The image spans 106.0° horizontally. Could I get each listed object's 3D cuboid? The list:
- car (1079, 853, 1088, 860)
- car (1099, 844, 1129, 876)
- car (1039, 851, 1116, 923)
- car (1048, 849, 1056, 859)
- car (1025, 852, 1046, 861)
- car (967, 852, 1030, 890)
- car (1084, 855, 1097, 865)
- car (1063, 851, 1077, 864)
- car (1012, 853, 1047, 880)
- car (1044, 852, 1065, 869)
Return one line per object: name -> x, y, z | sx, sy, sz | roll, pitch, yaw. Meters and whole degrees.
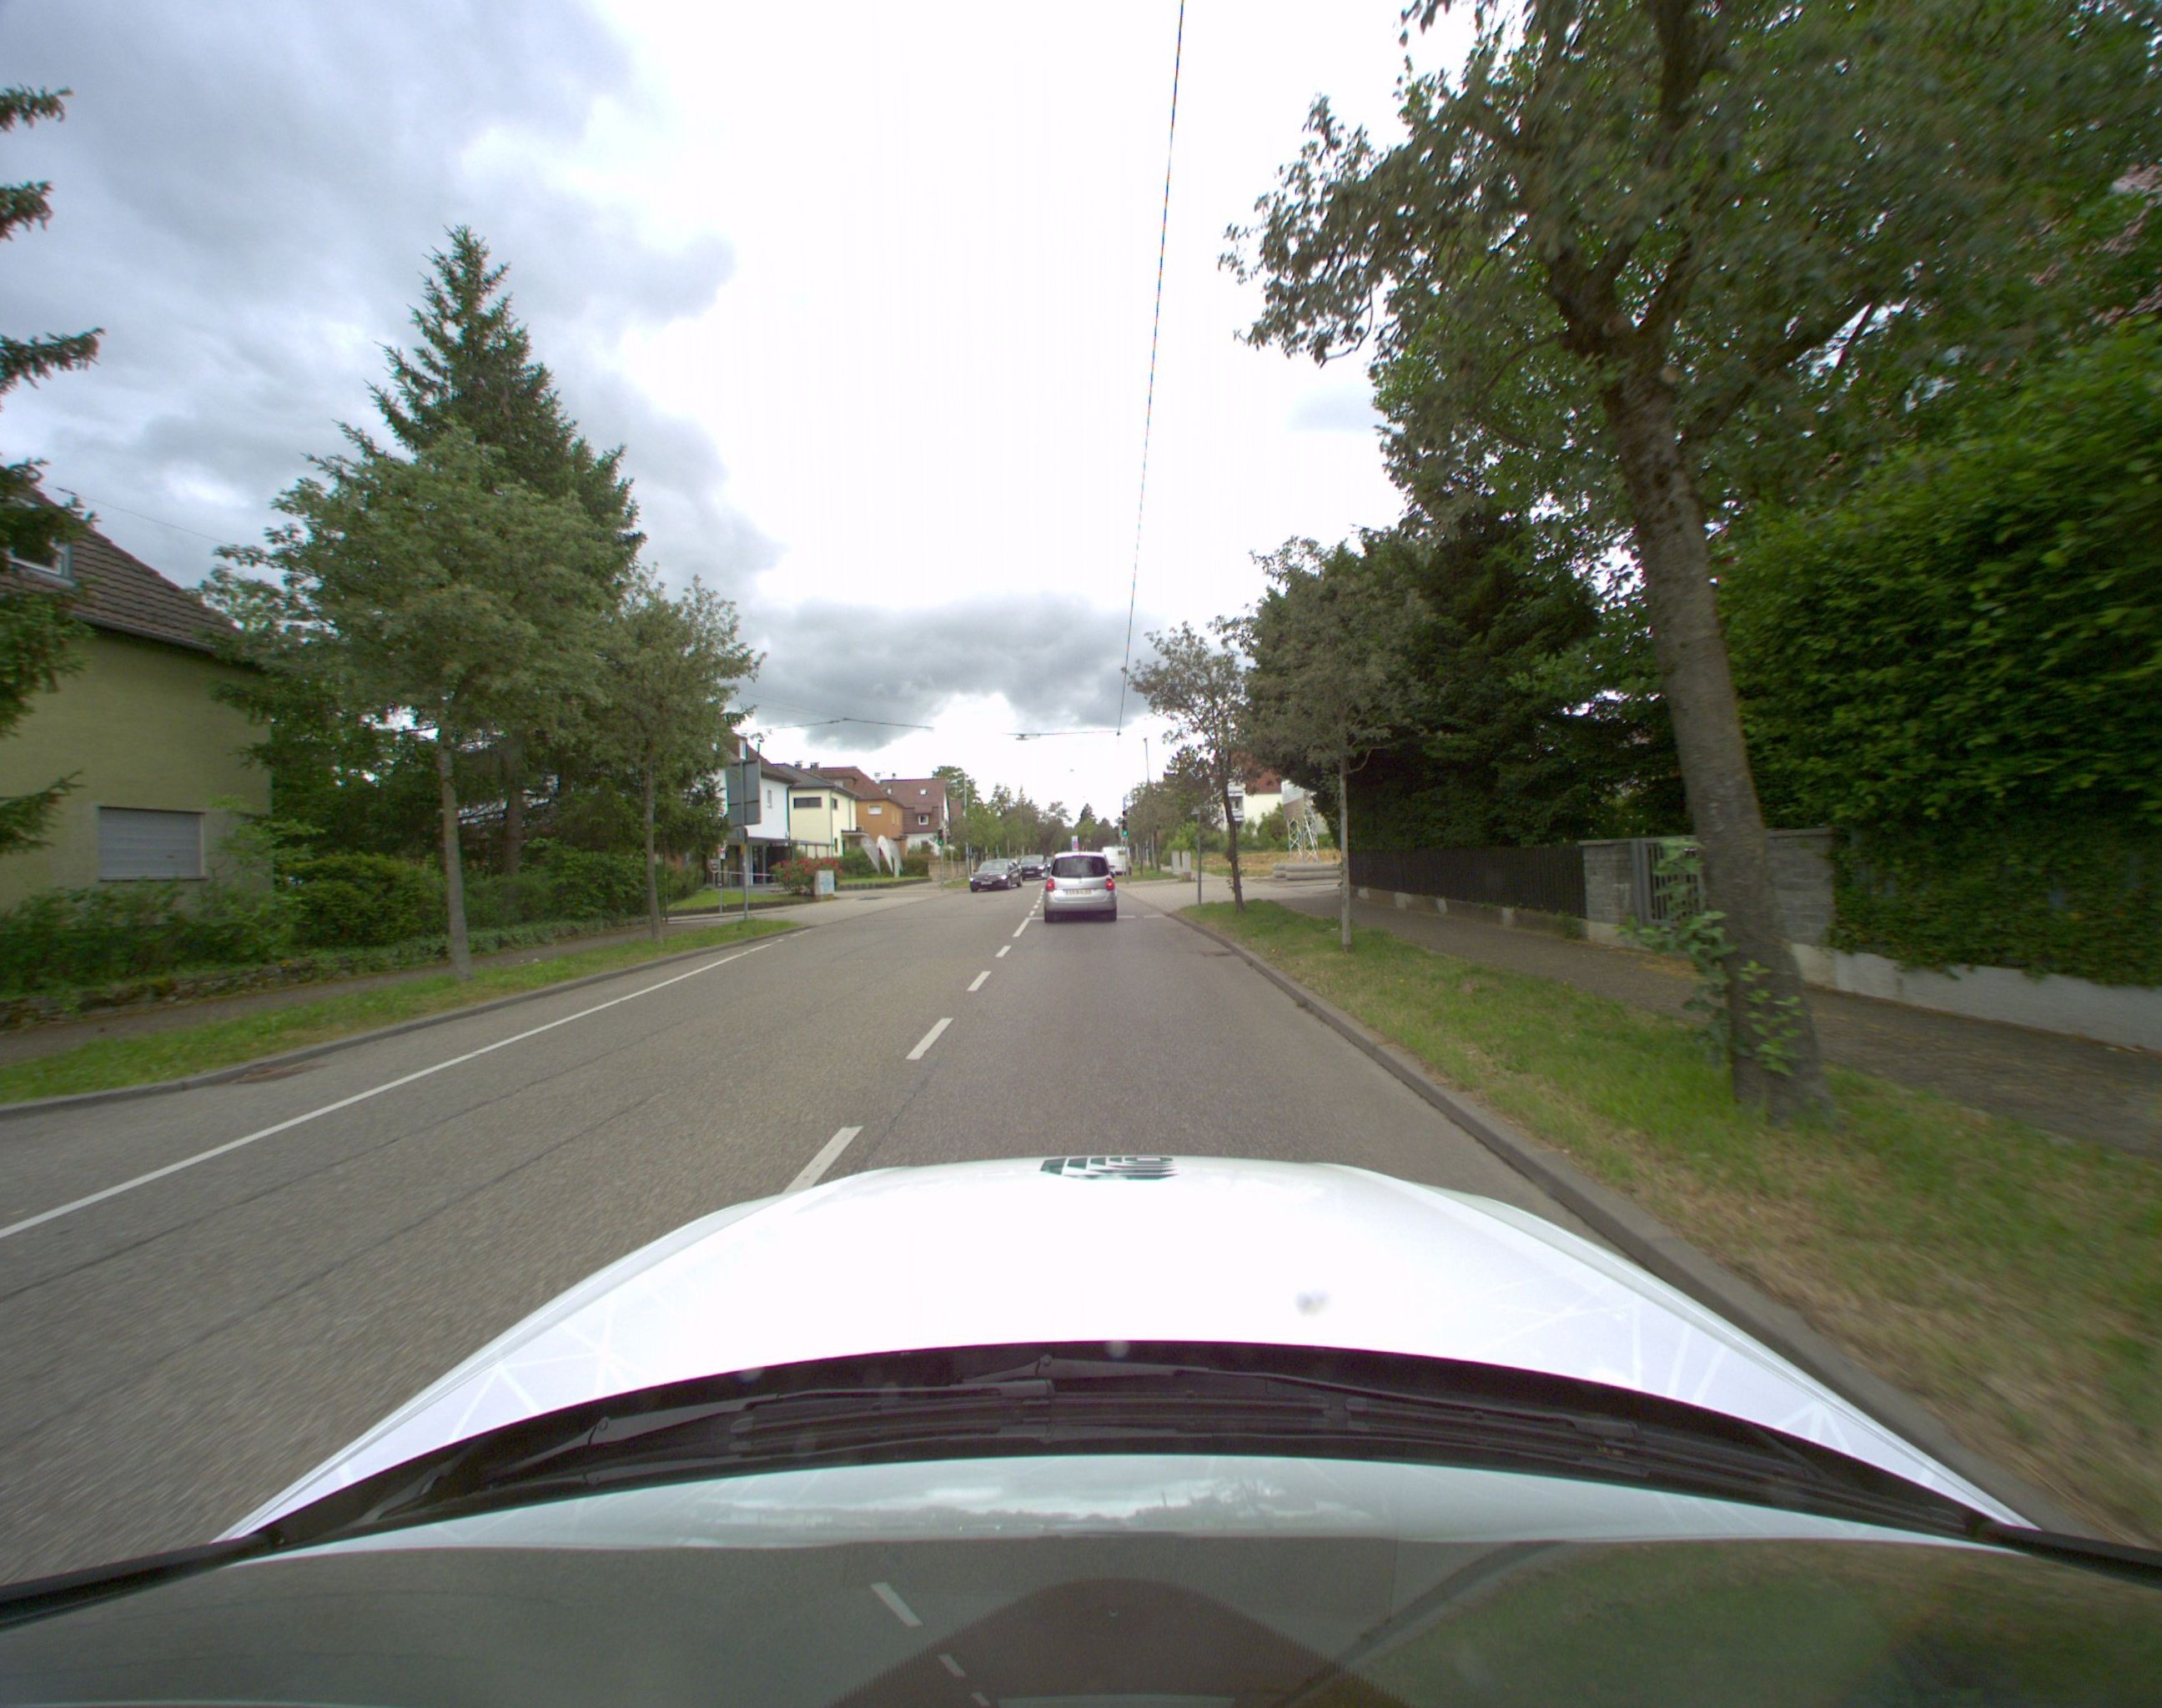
car -> 0.650, 0.599, 198.020 | 1.694, 1.506, 3.963 | -2, 0, -7
car -> 2.103, 0.361, 52.811 | 1.769, 1.943, 4.789 | -1, 0, 0
car -> -0.036, 0.713, 19.496 | 1.673, 1.560, 3.512 | 0, 0, 1
car -> -8.106, 0.119, 228.359 | 2.066, 2.582, 5.300 | -4, 0, 0
car -> -9.421, 0.450, 167.285 | 4.072, 1.706, 1.748 | -3, 0, 1
car -> -3.877, 0.772, 39.053 | 1.983, 1.620, 4.656 | -3, 0, 6
car -> 1.593, 1.016, 140.667 | 1.831, 1.713, 3.996 | -4, 0, -3
car -> -1.619, 0.509, 117.569 | 1.807, 1.692, 4.466 | -4, 0, 1
car -> -3.313, 0.784, 52.952 | 1.889, 1.624, 4.000 | -3, 0, 1
car -> -2.563, 0.606, 78.458 | 1.609, 1.472, 4.003 | -4, 0, 3
